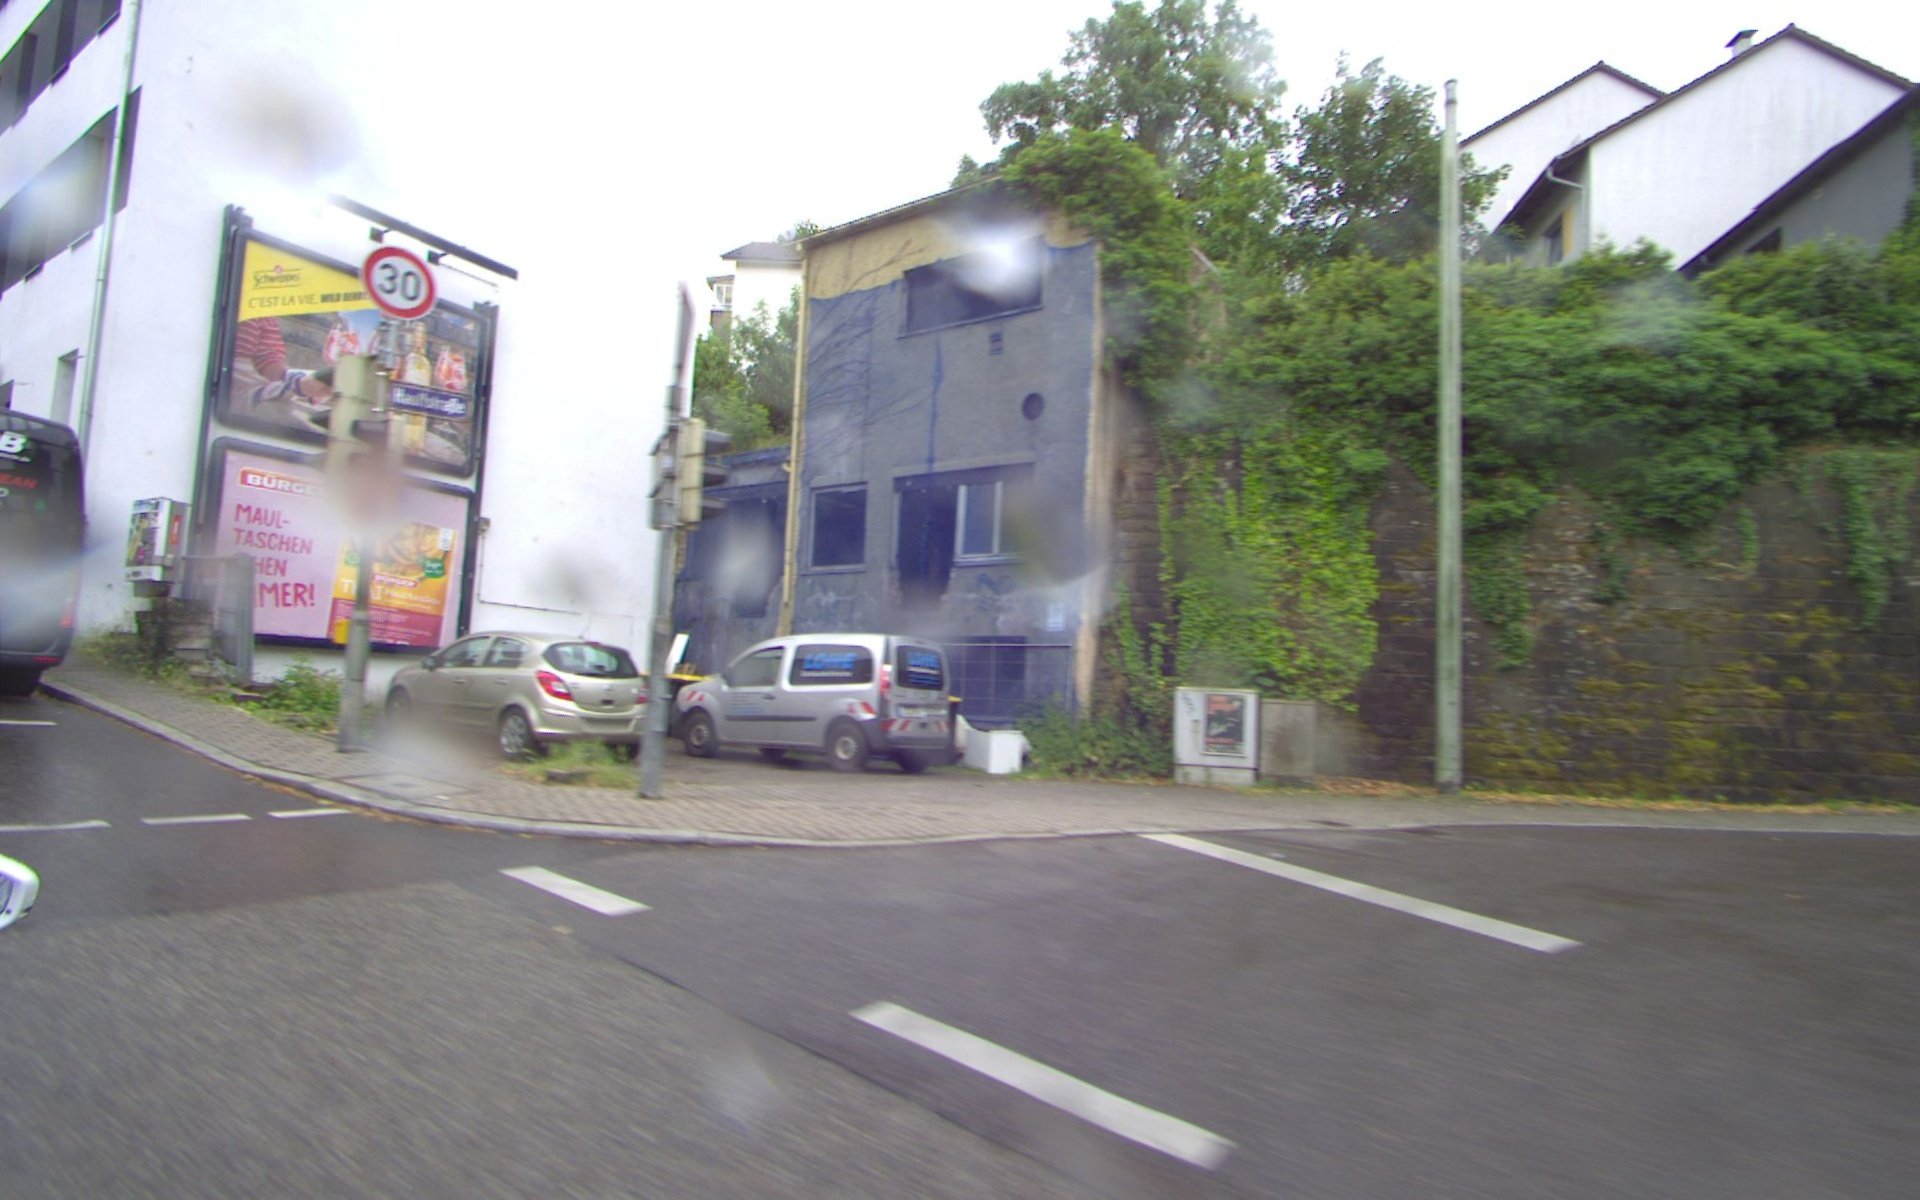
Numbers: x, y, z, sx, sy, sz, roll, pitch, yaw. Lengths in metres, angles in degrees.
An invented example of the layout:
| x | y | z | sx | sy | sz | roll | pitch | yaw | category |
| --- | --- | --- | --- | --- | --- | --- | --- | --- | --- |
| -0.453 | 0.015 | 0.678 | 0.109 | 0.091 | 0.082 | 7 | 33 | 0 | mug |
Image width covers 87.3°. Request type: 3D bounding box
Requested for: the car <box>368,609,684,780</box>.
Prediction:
| x | y | z | sx | sy | sz | roll | pitch | yaw | category |
| --- | --- | --- | --- | --- | --- | --- | --- | --- | --- |
| -5.514 | 1.141 | 12.636 | 3.935 | 1.500 | 1.566 | 6 | -4 | 33 | car |

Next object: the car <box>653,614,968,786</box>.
| x | y | z | sx | sy | sz | roll | pitch | yaw | category |
| --- | --- | --- | --- | --- | --- | --- | --- | --- | --- |
| -2.180 | 1.372 | 14.294 | 4.175 | 1.932 | 1.732 | 3 | -6 | 34 | car |

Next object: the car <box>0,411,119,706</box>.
| x | y | z | sx | sy | sz | roll | pitch | yaw | category |
| --- | --- | --- | --- | --- | --- | --- | --- | --- | --- |
| -10.675 | -0.516 | 9.873 | 5.747 | 2.438 | 1.998 | 3 | -6 | 35 | car |

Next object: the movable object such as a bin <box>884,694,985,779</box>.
| x | y | z | sx | sy | sz | roll | pitch | yaw | category |
| --- | --- | --- | --- | --- | --- | --- | --- | --- | --- |
| -0.383 | 2.096 | 15.453 | 1.106 | 1.152 | 0.943 | 3 | -6 | 35 | movable object such as a bin |
